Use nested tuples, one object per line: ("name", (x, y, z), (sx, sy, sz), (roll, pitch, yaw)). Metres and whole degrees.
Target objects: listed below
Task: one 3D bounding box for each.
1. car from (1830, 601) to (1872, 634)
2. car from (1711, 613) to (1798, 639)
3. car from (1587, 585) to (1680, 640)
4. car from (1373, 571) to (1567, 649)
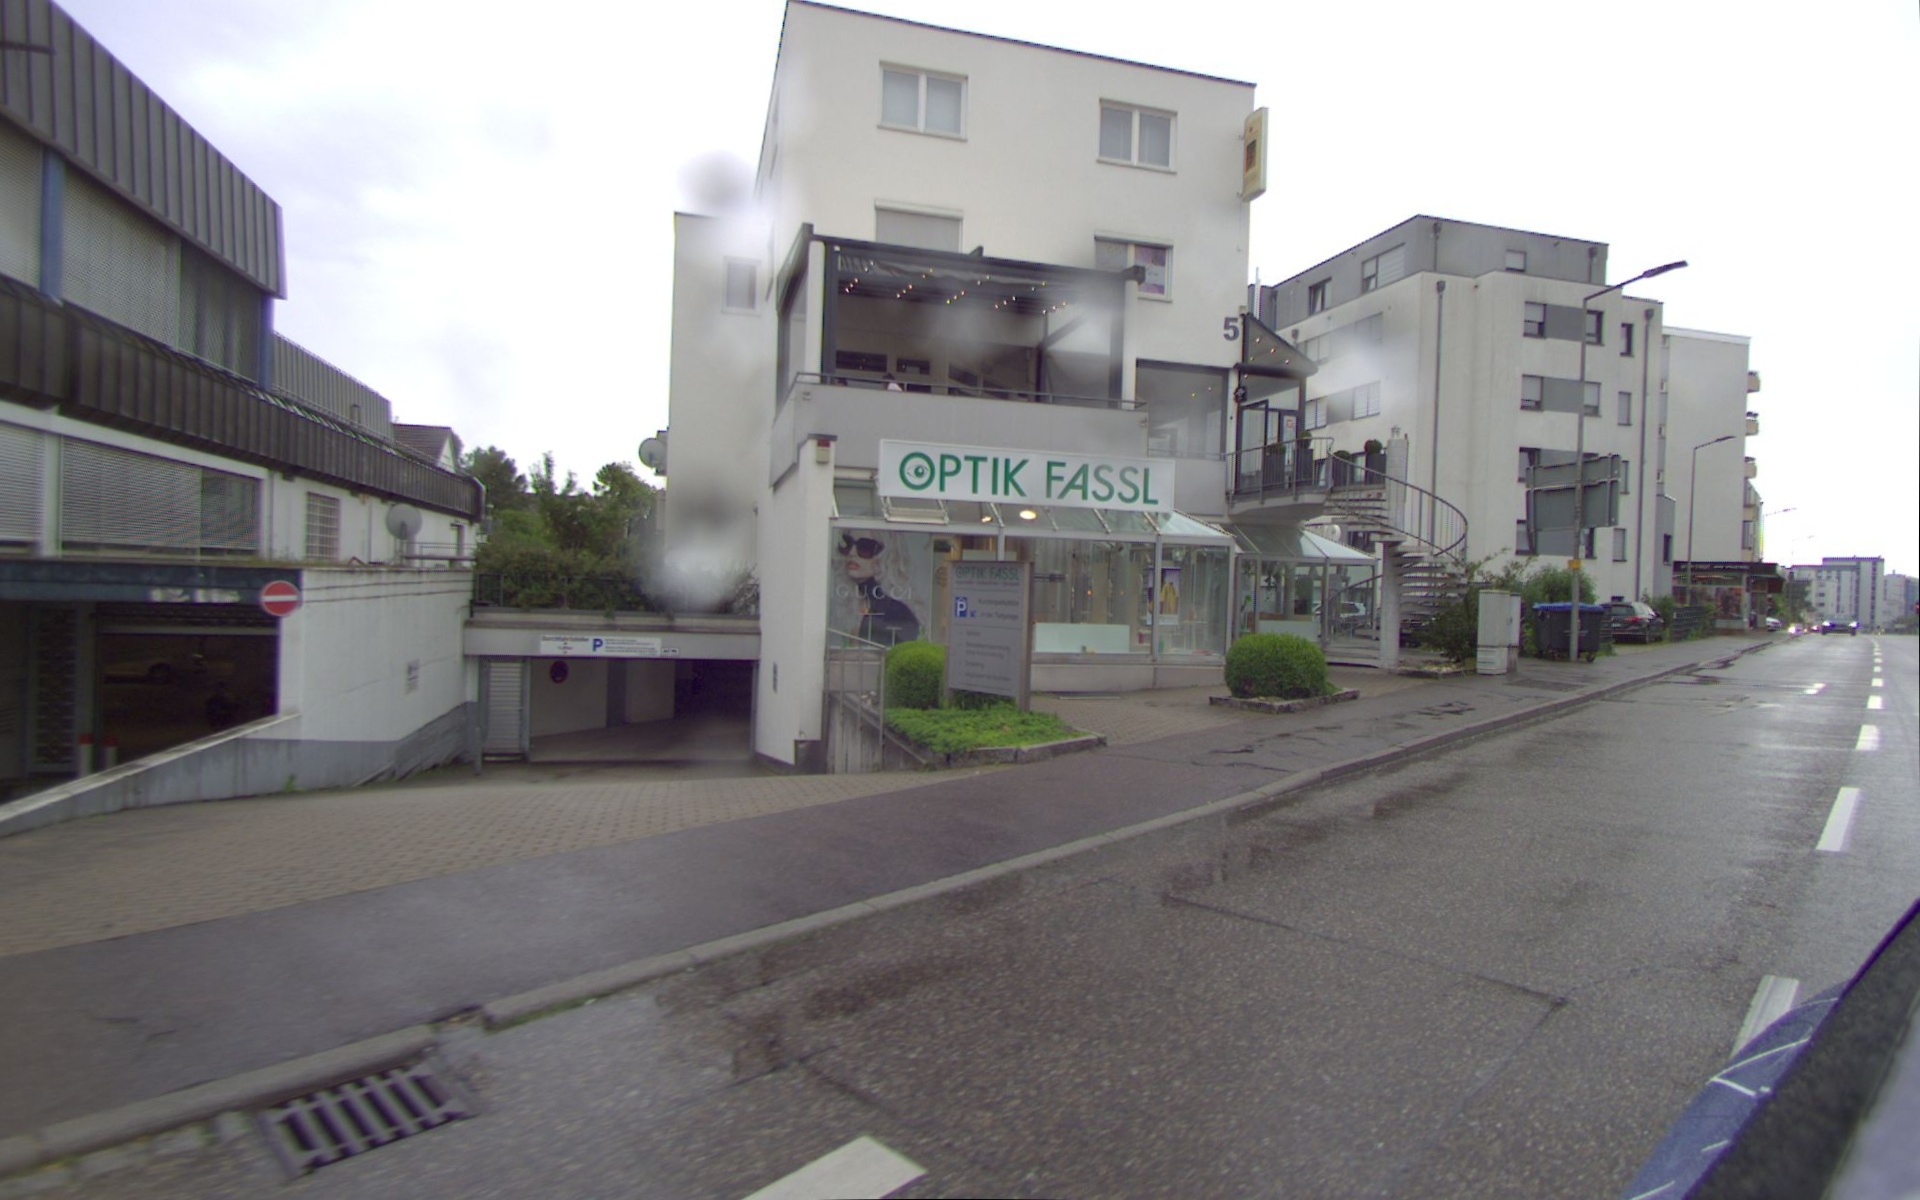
("car", (60.326, 1.189, 68.494), (1.993, 2.039, 3.937), (2, -1, 43))
("car", (53.730, 1.739, 68.500), (1.833, 1.513, 4.280), (3, -1, -19))
("car", (24.181, 0.431, 36.256), (1.994, 1.808, 4.616), (2, 1, 44))
("car", (14.479, 0.278, 28.825), (4.679, 2.039, 2.004), (2, 1, -14))
